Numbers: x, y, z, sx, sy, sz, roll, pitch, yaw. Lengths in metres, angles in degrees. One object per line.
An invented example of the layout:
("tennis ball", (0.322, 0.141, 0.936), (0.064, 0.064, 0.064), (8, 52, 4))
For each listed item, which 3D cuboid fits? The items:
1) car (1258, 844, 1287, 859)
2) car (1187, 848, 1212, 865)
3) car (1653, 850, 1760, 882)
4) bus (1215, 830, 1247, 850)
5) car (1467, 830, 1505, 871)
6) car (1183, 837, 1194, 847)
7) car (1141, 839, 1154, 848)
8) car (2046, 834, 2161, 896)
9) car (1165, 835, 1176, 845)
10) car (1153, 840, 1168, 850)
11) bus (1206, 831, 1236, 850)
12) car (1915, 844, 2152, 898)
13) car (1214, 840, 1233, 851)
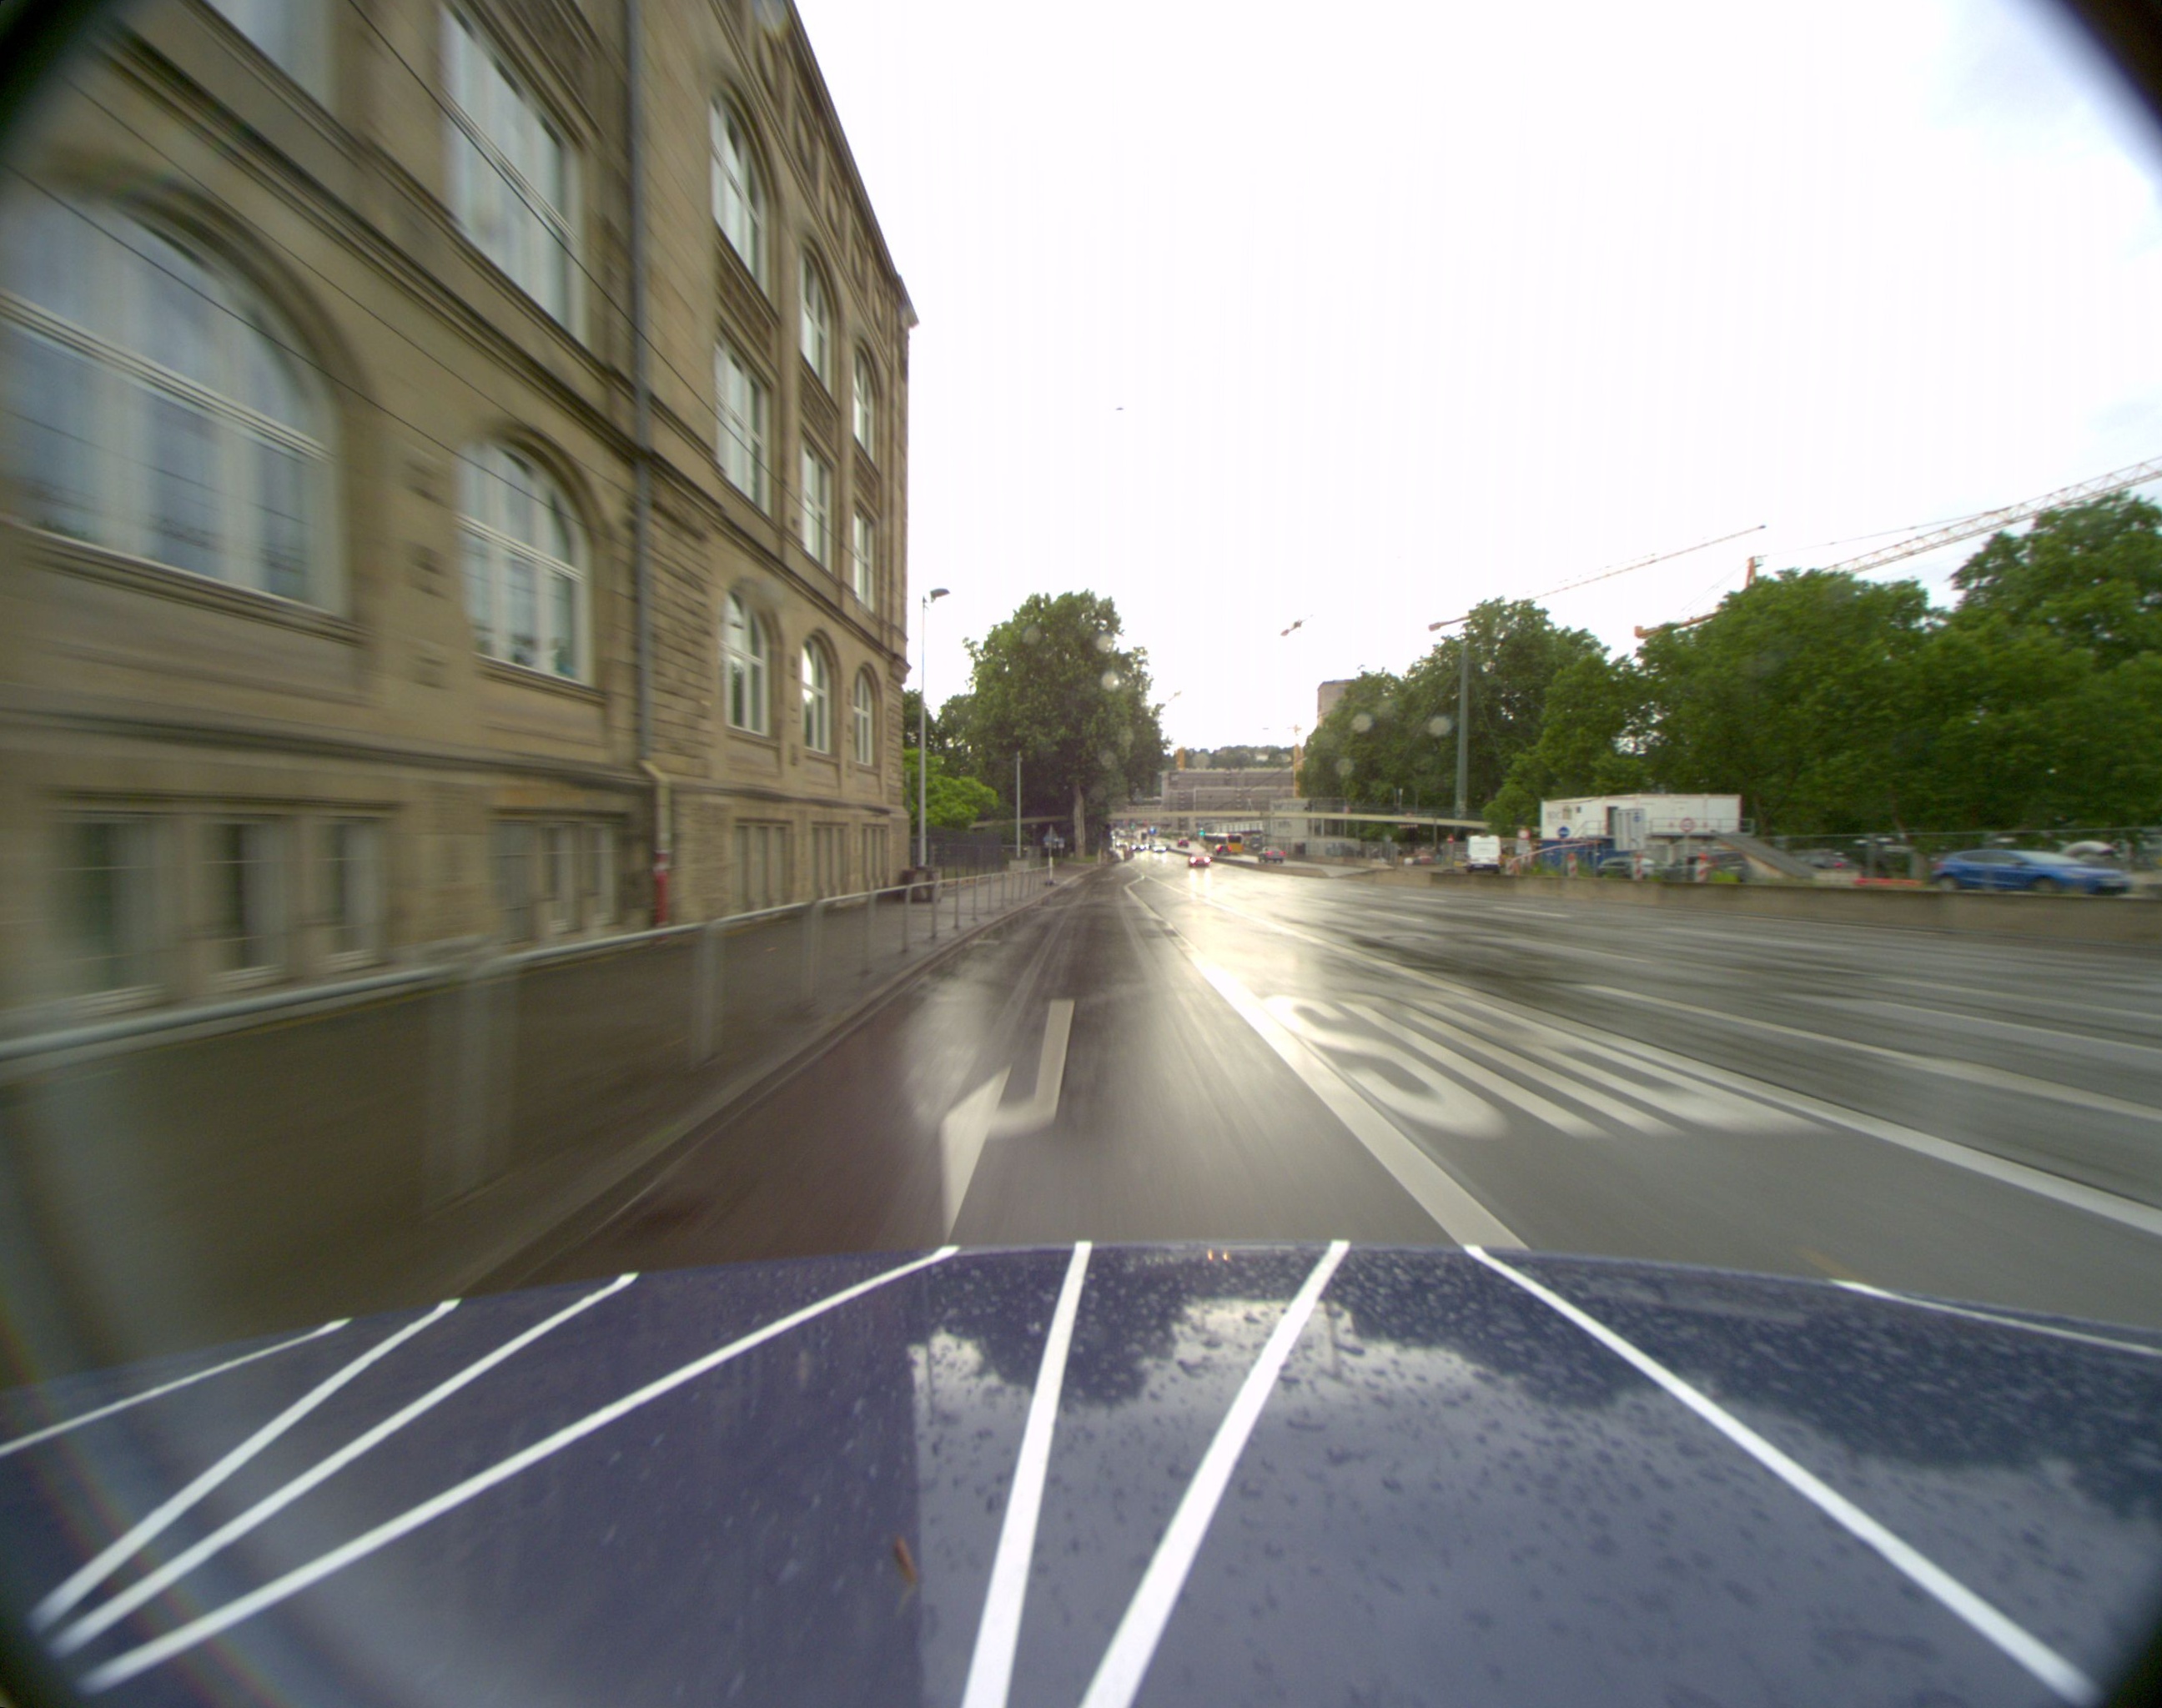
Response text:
("car", (19.681, -0.272, 78.335), (1.840, 1.567, 4.439), (0, 0, 0))
("car", (11.007, 0.202, 70.896), (1.690, 1.543, 4.000), (0, 0, 1))
("car", (29.870, 0.529, 36.460), (1.839, 1.481, 4.442), (0, 0, 7))
("bus", (23.325, -2.129, 118.585), (3.270, 2.923, 8.953), (-2, 0, 1))
("car", (28.647, -0.245, 53.882), (2.075, 2.722, 4.601), (0, 1, 25))
("car", (21.070, -2.344, 148.825), (1.998, 2.002, 4.001), (0, 0, 4))
("car", (12.228, -1.965, 140.226), (1.987, 1.567, 4.439), (0, 0, 0))
("car", (41.949, 0.410, 30.242), (1.998, 2.370, 4.000), (0, 0, 1))
("car", (17.611, -2.736, 150.033), (1.998, 2.002, 4.001), (0, 0, 4))
("car", (13.162, -1.442, 126.275), (1.987, 1.567, 4.439), (0, 0, 0))
("bus", (23.398, -2.190, 127.468), (3.238, 3.038, 8.953), (-2, 0, 0))
("car", (28.579, 0.462, 23.086), (1.839, 1.481, 4.441), (0, 0, 5))
("car", (20.185, -1.221, 107.525), (1.840, 1.567, 4.439), (0, 0, 0))
